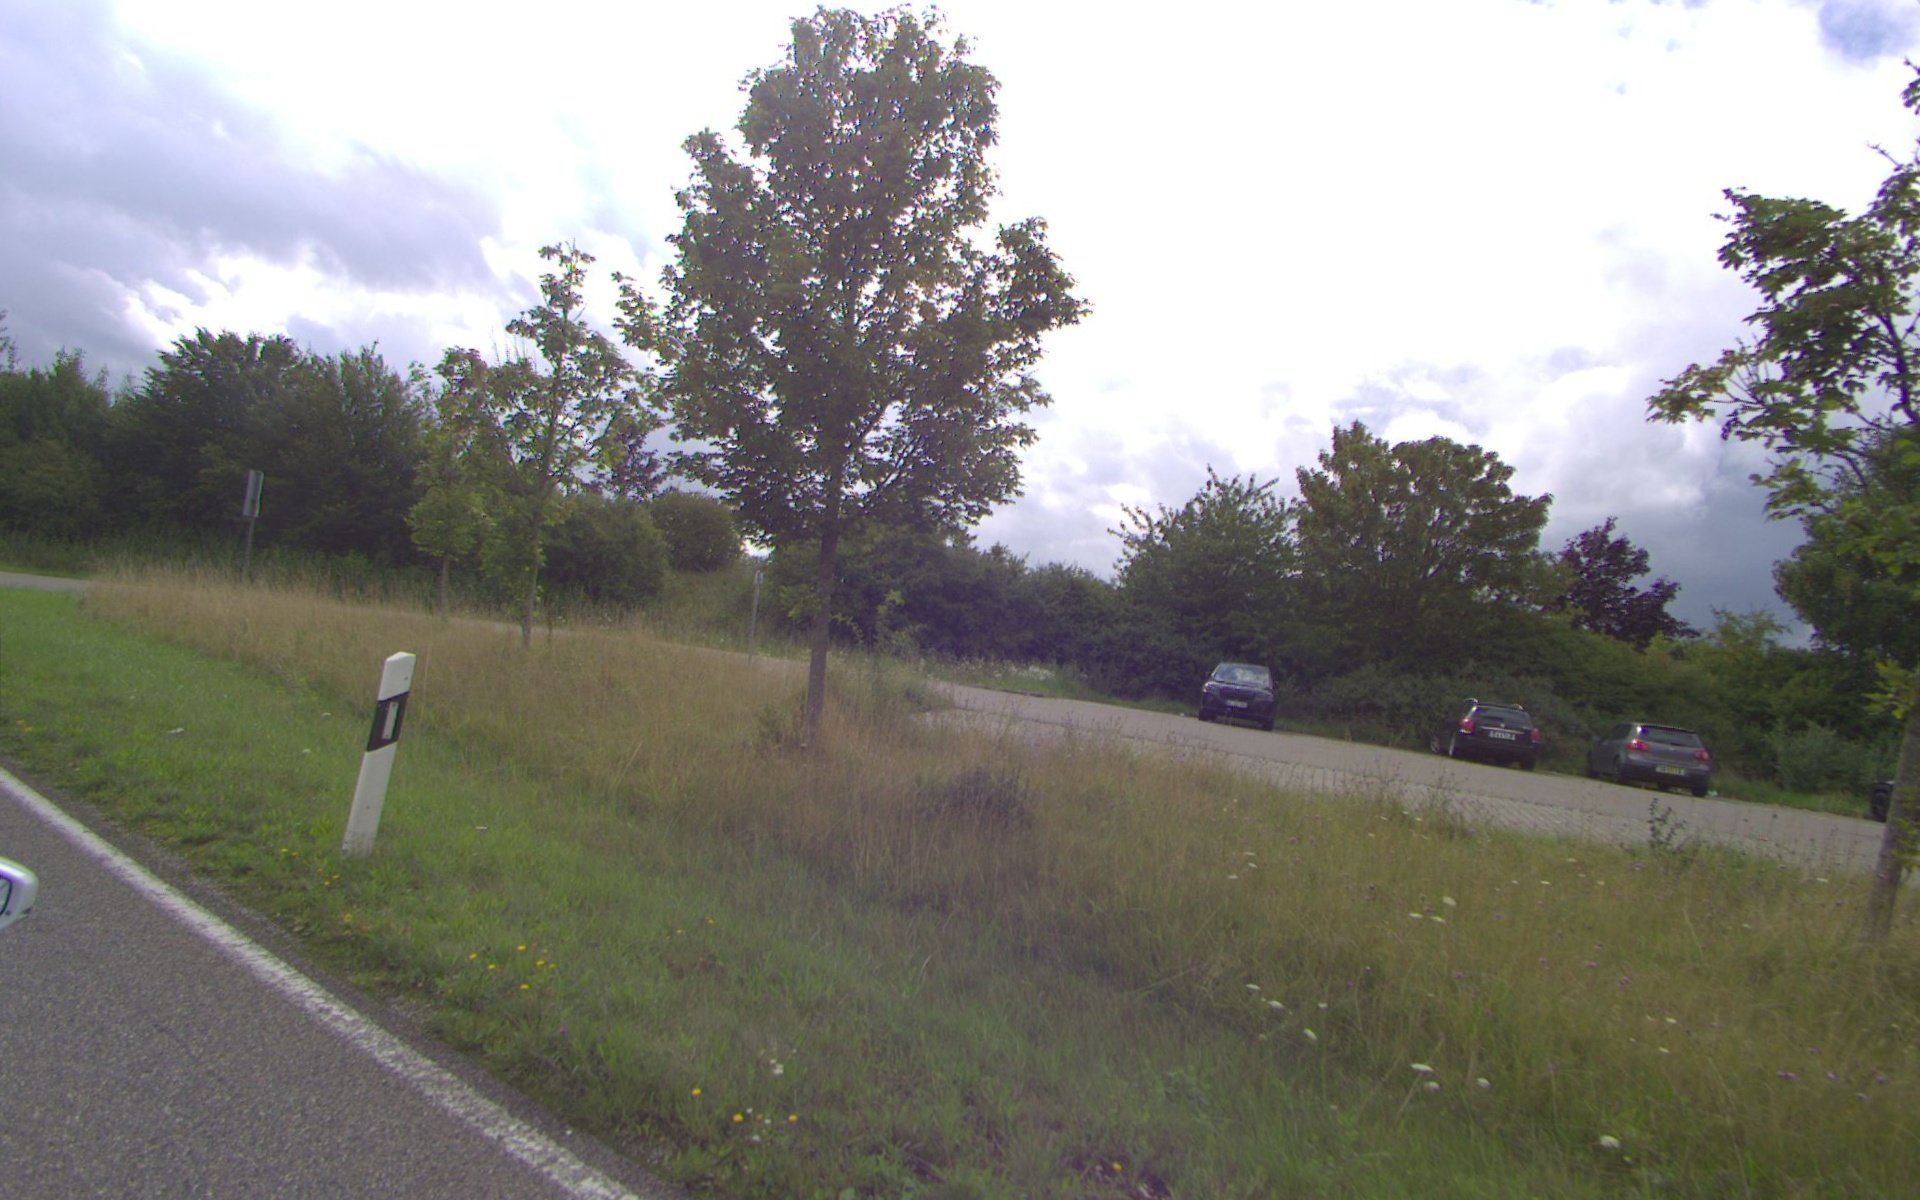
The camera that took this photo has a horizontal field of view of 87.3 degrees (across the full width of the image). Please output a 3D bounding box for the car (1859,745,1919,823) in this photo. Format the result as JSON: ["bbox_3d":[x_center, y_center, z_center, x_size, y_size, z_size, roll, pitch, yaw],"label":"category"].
[{"bbox_3d":[21.499,4.112,21.358,1.962,1.514,4.004,6,-2,17],"label":"car"}]

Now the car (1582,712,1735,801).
[{"bbox_3d":[16.129,3.553,23.472,2.014,1.523,4.011,6,-2,23],"label":"car"}]

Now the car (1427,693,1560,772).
[{"bbox_3d":[12.877,3.148,24.572,1.962,1.430,4.169,6,-2,17],"label":"car"}]

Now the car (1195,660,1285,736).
[{"bbox_3d":[7.416,2.512,26.591,1.962,1.599,4.497,6,-2,17],"label":"car"}]
